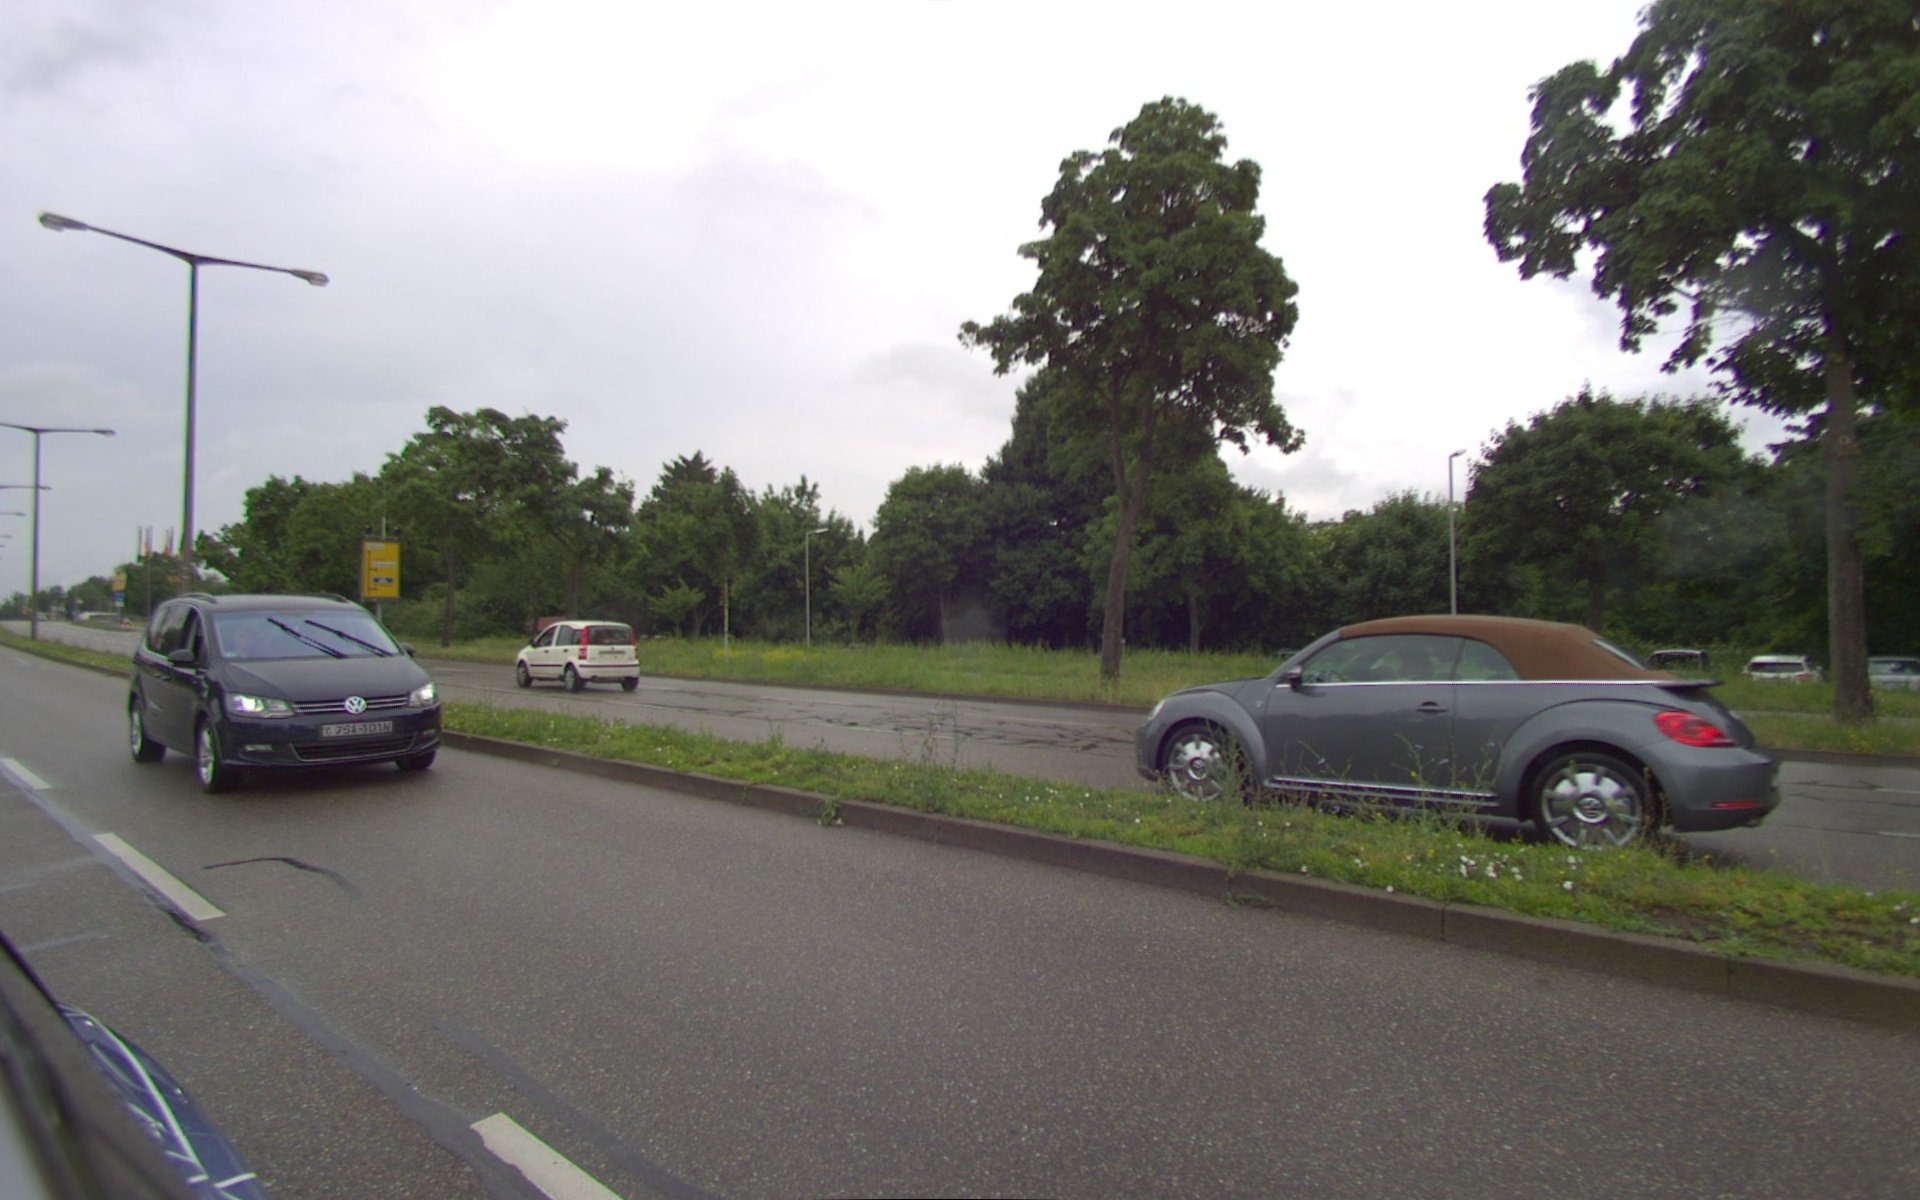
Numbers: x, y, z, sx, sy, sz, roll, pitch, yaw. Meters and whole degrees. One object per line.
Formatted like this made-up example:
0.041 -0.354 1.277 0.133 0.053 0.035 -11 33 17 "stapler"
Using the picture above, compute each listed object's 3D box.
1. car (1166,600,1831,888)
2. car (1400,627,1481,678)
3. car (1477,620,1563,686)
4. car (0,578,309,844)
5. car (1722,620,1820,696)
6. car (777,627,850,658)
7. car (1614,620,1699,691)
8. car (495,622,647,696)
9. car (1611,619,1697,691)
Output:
3.581 0.780 7.111 3.808 1.461 1.808 -1 -2 42 "car"
16.675 1.783 35.059 1.820 1.652 3.951 -1 -2 36 "car"
18.623 1.713 33.581 1.996 2.029 3.951 -1 -2 36 "car"
-7.650 0.775 9.018 4.815 1.764 1.826 -2 0 41 "car"
23.291 1.603 29.200 1.996 2.029 3.951 -1 -2 36 "car"
-8.394 2.421 58.245 1.996 1.698 3.951 -1 -2 36 "car"
21.241 1.634 30.796 1.996 2.029 3.951 -1 -2 36 "car"
-9.013 1.325 23.305 4.000 1.566 1.664 -2 -4 43 "car"
21.183 1.631 30.827 1.996 2.029 3.951 -1 -2 36 "car"
